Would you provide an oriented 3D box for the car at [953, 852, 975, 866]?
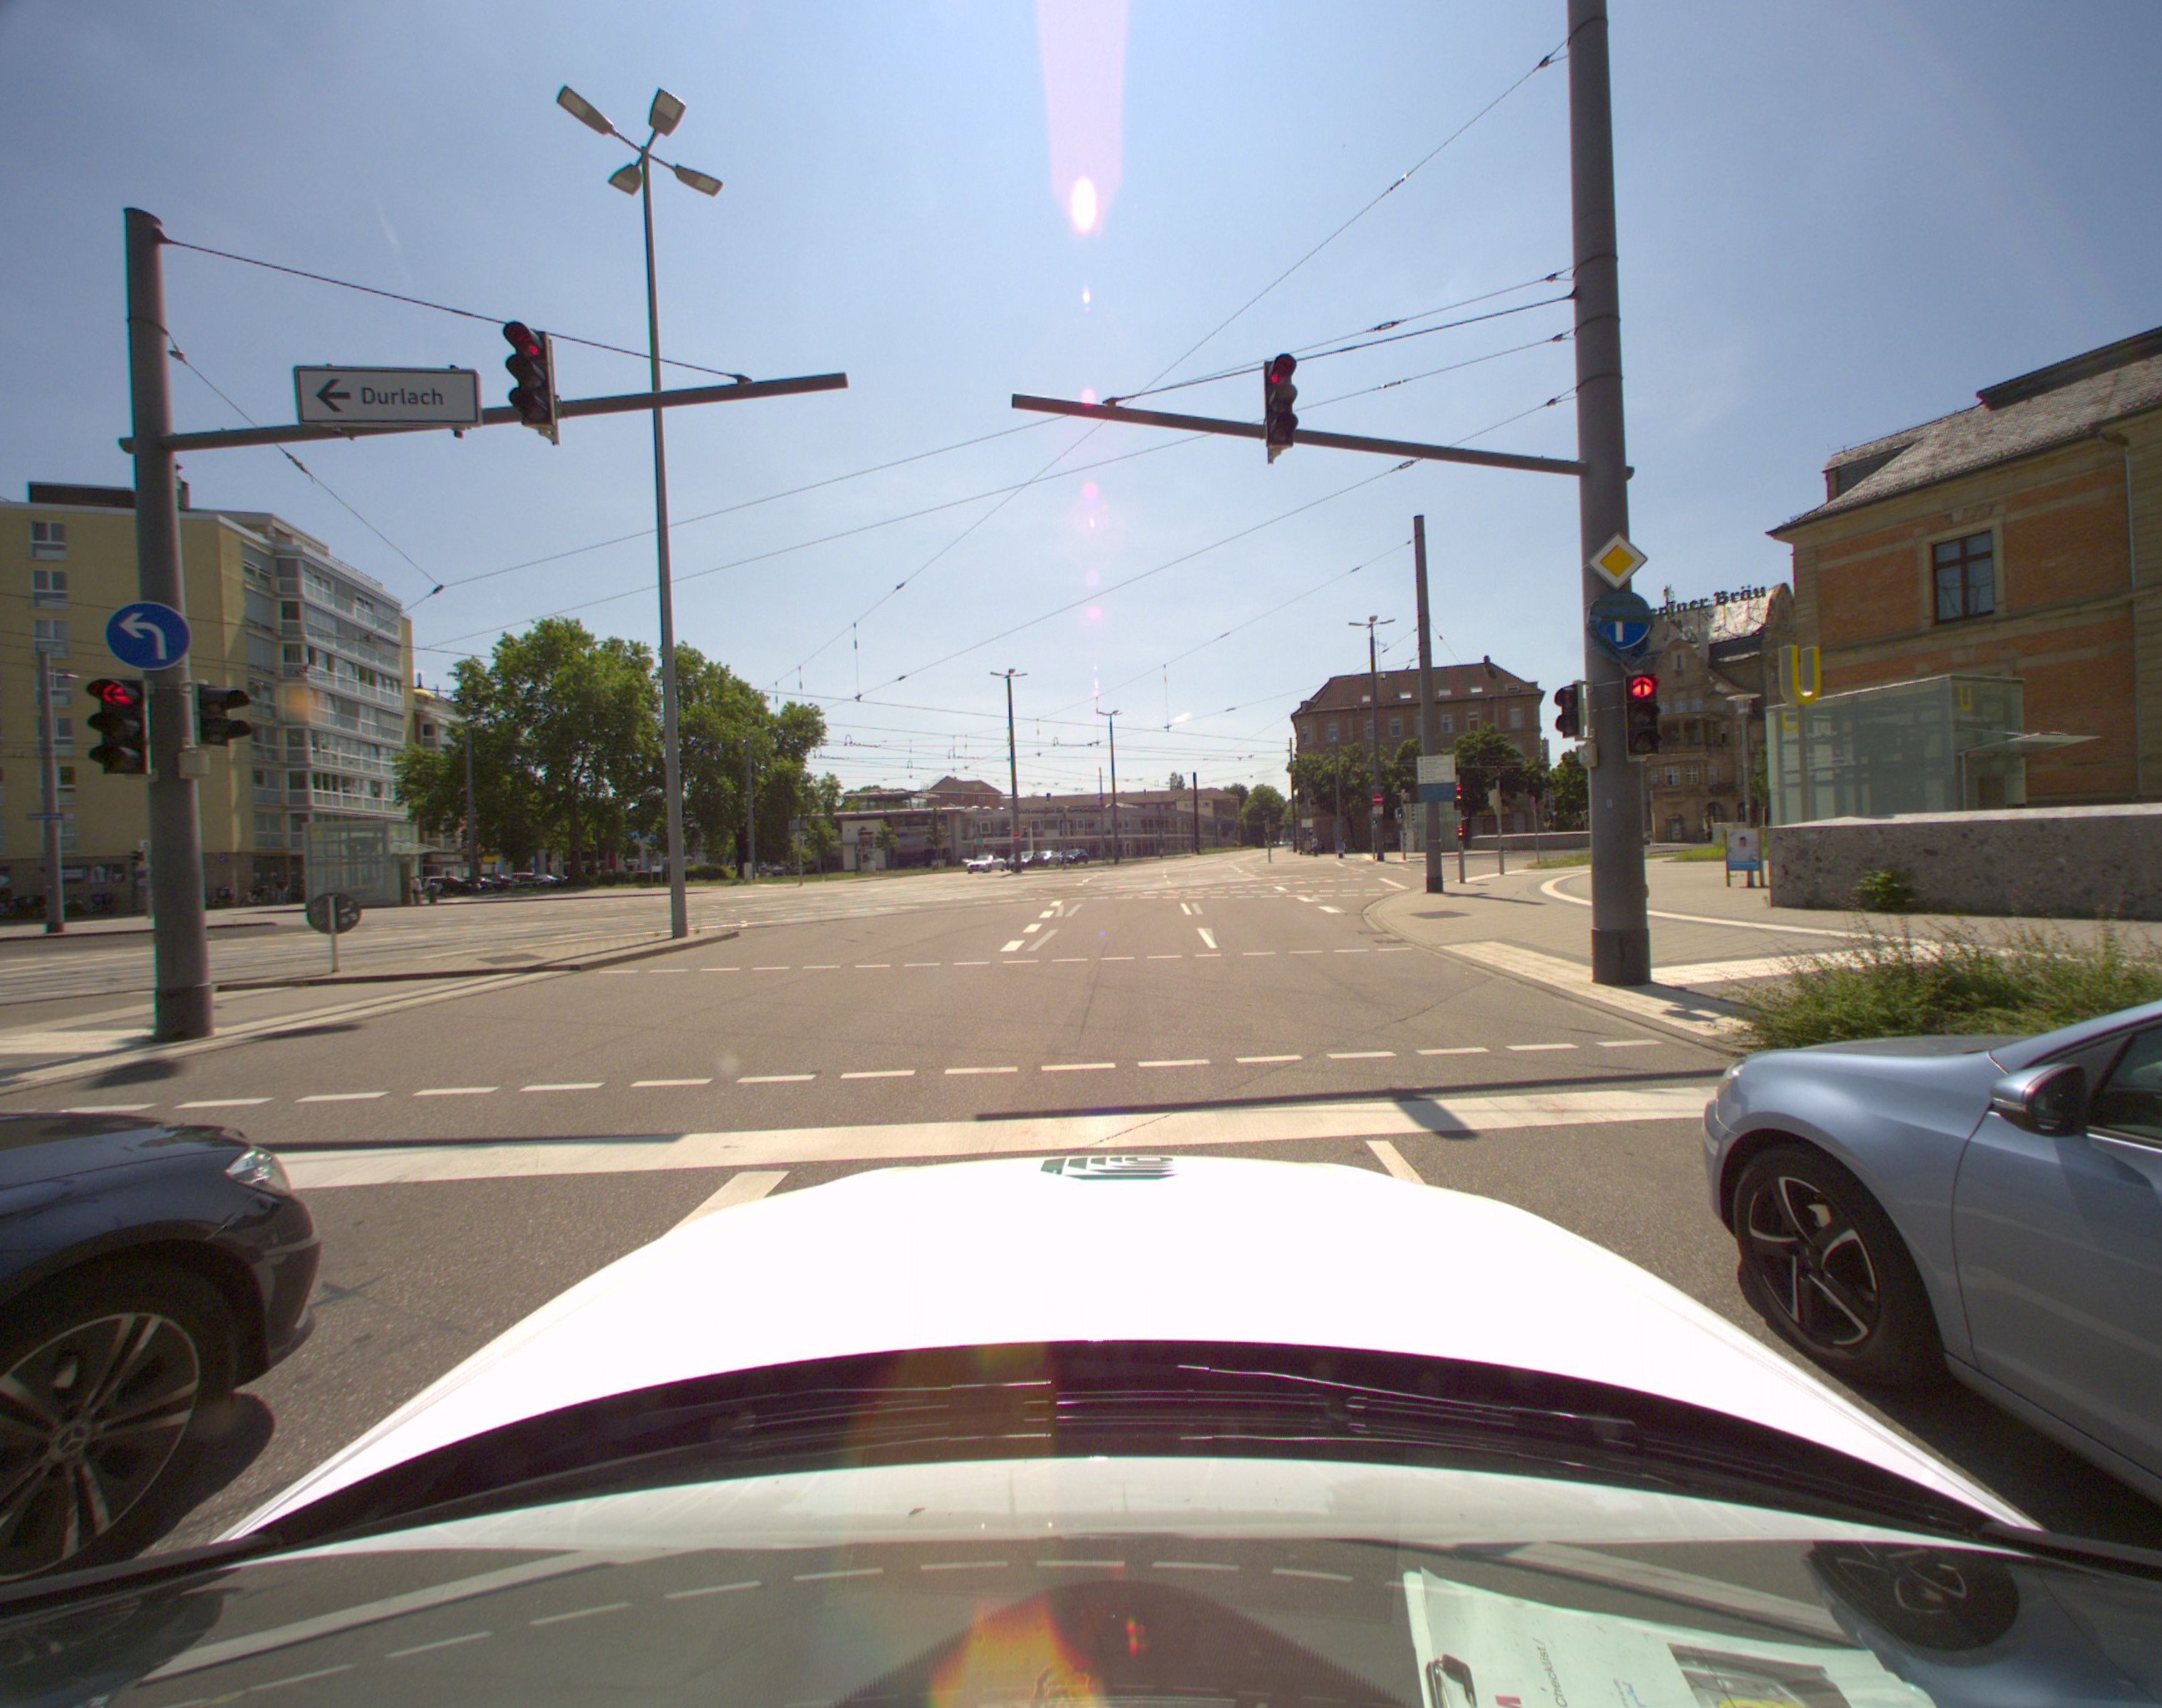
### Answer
[{"bbox_3d":[-14.460,0.650,100.884,1.913,1.707,4.002,0,-1,2],"label":"car"}]

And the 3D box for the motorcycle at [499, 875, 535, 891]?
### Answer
[{"bbox_3d":[-38.598,1.964,55.741,1.925,0.961,0.521,-2,0,-29],"label":"motorcycle"}]

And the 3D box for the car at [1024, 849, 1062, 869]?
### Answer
[{"bbox_3d":[-3.507,0.432,76.526,1.977,1.739,4.565,-2,0,19],"label":"car"}]

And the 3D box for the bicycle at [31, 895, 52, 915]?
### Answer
[{"bbox_3d":[-56.910,2.803,44.597,0.435,1.026,1.426,-2,0,-42],"label":"bicycle"}]

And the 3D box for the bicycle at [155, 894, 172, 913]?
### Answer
[{"bbox_3d":[-51.685,2.777,45.870,0.435,1.026,1.426,-2,0,-42],"label":"bicycle"}]

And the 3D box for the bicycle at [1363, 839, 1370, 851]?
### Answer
[{"bbox_3d":[27.383,-0.880,78.034,0.546,1.120,1.829,-2,0,18],"label":"bicycle"}]

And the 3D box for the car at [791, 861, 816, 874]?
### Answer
[{"bbox_3d":[-34.739,1.685,102.203,1.763,1.510,4.322,-2,0,-3],"label":"car"}]

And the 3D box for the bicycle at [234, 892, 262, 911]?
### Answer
[{"bbox_3d":[-49.270,2.782,48.202,0.432,1.026,1.437,-2,0,-14],"label":"bicycle"}]

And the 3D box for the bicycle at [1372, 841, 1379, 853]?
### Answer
[{"bbox_3d":[28.157,-0.663,77.880,0.546,1.120,1.898,-2,0,18],"label":"bicycle"}]

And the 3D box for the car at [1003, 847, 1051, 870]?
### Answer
[{"bbox_3d":[-4.229,0.350,64.764,1.977,1.637,4.870,-2,0,19],"label":"car"}]

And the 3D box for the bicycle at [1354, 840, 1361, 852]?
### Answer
[{"bbox_3d":[26.604,-0.751,78.283,0.547,1.120,1.828,-2,0,17],"label":"bicycle"}]

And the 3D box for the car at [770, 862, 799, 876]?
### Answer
[{"bbox_3d":[-37.415,1.862,102.807,1.760,1.510,4.330,-2,0,3],"label":"car"}]

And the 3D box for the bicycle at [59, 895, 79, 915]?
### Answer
[{"bbox_3d":[-55.907,2.800,44.991,0.435,1.026,1.426,-2,0,-42],"label":"bicycle"}]

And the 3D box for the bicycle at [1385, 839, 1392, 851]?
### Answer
[{"bbox_3d":[29.517,-0.907,78.225,0.546,1.120,1.879,-2,0,18],"label":"bicycle"}]

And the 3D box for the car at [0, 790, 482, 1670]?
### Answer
[{"bbox_3d":[-2.975,0.719,0.291,1.790,1.640,4.808,-1,0,3],"label":"car"}]

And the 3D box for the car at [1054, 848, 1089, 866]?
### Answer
[{"bbox_3d":[-0.938,0.291,83.286,2.061,1.682,4.870,-2,0,19],"label":"car"}]

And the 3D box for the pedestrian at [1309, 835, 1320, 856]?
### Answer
[{"bbox_3d":[19.618,-0.739,68.414,0.463,1.708,0.634,-2,0,-29],"label":"pedestrian"}]

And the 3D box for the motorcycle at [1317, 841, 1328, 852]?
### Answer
[{"bbox_3d":[23.345,-0.717,78.721,0.577,1.074,1.949,-2,0,6],"label":"motorcycle"}]

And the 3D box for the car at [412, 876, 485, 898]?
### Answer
[{"bbox_3d":[-49.183,2.529,63.418,3.998,1.420,1.988,-2,0,-18],"label":"car"}]

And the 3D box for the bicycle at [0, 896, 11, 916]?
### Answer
[{"bbox_3d":[-58.454,2.809,44.051,0.435,1.026,1.426,-2,0,-42],"label":"bicycle"}]

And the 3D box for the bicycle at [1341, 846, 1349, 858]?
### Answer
[{"bbox_3d":[25.559,-0.193,78.859,0.440,1.146,2.099,-1,-1,9],"label":"bicycle"}]

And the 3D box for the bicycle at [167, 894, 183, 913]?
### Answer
[{"bbox_3d":[-51.220,2.775,46.039,0.435,1.026,1.426,-2,0,-42],"label":"bicycle"}]

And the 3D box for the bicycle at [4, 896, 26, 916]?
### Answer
[{"bbox_3d":[-57.854,2.806,44.202,0.435,1.026,1.426,-2,0,-42],"label":"bicycle"}]

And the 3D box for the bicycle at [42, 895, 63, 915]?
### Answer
[{"bbox_3d":[-56.404,2.800,44.671,0.435,1.026,1.426,-2,0,-42],"label":"bicycle"}]

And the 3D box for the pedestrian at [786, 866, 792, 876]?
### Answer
[{"bbox_3d":[-35.452,2.040,98.954,0.510,1.204,0.446,-2,0,7],"label":"pedestrian"}]

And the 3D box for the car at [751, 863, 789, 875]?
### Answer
[{"bbox_3d":[-41.377,1.992,108.385,4.343,1.510,1.754,-3,0,-33],"label":"car"}]

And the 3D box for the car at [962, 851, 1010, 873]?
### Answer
[{"bbox_3d":[-7.472,0.598,64.530,2.061,1.580,4.866,-2,0,15],"label":"car"}]

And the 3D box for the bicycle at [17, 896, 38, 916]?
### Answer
[{"bbox_3d":[-57.399,2.804,44.361,0.435,1.026,1.426,-2,0,-42],"label":"bicycle"}]

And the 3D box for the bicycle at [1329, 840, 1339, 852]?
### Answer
[{"bbox_3d":[24.412,-0.782,78.523,0.548,1.120,1.824,-2,0,6],"label":"bicycle"}]

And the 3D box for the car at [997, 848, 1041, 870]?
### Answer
[{"bbox_3d":[-5.318,0.414,70.622,1.977,1.700,4.870,-2,0,19],"label":"car"}]

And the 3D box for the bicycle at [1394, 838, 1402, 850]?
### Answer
[{"bbox_3d":[30.486,-0.932,78.294,0.546,1.120,1.938,-2,0,18],"label":"bicycle"}]

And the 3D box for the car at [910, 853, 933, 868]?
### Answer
[{"bbox_3d":[-19.678,0.818,100.705,1.913,1.707,4.002,0,-1,2],"label":"car"}]

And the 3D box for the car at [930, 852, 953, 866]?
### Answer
[{"bbox_3d":[-17.193,0.603,100.663,1.913,1.707,4.002,0,-1,2],"label":"car"}]

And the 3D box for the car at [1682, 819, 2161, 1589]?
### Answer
[{"bbox_3d":[2.842,0.656,0.787,1.645,1.459,4.005,-1,0,1],"label":"car"}]

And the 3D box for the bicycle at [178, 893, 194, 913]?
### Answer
[{"bbox_3d":[-50.797,2.774,46.227,0.435,1.026,1.426,-2,0,-42],"label":"bicycle"}]
